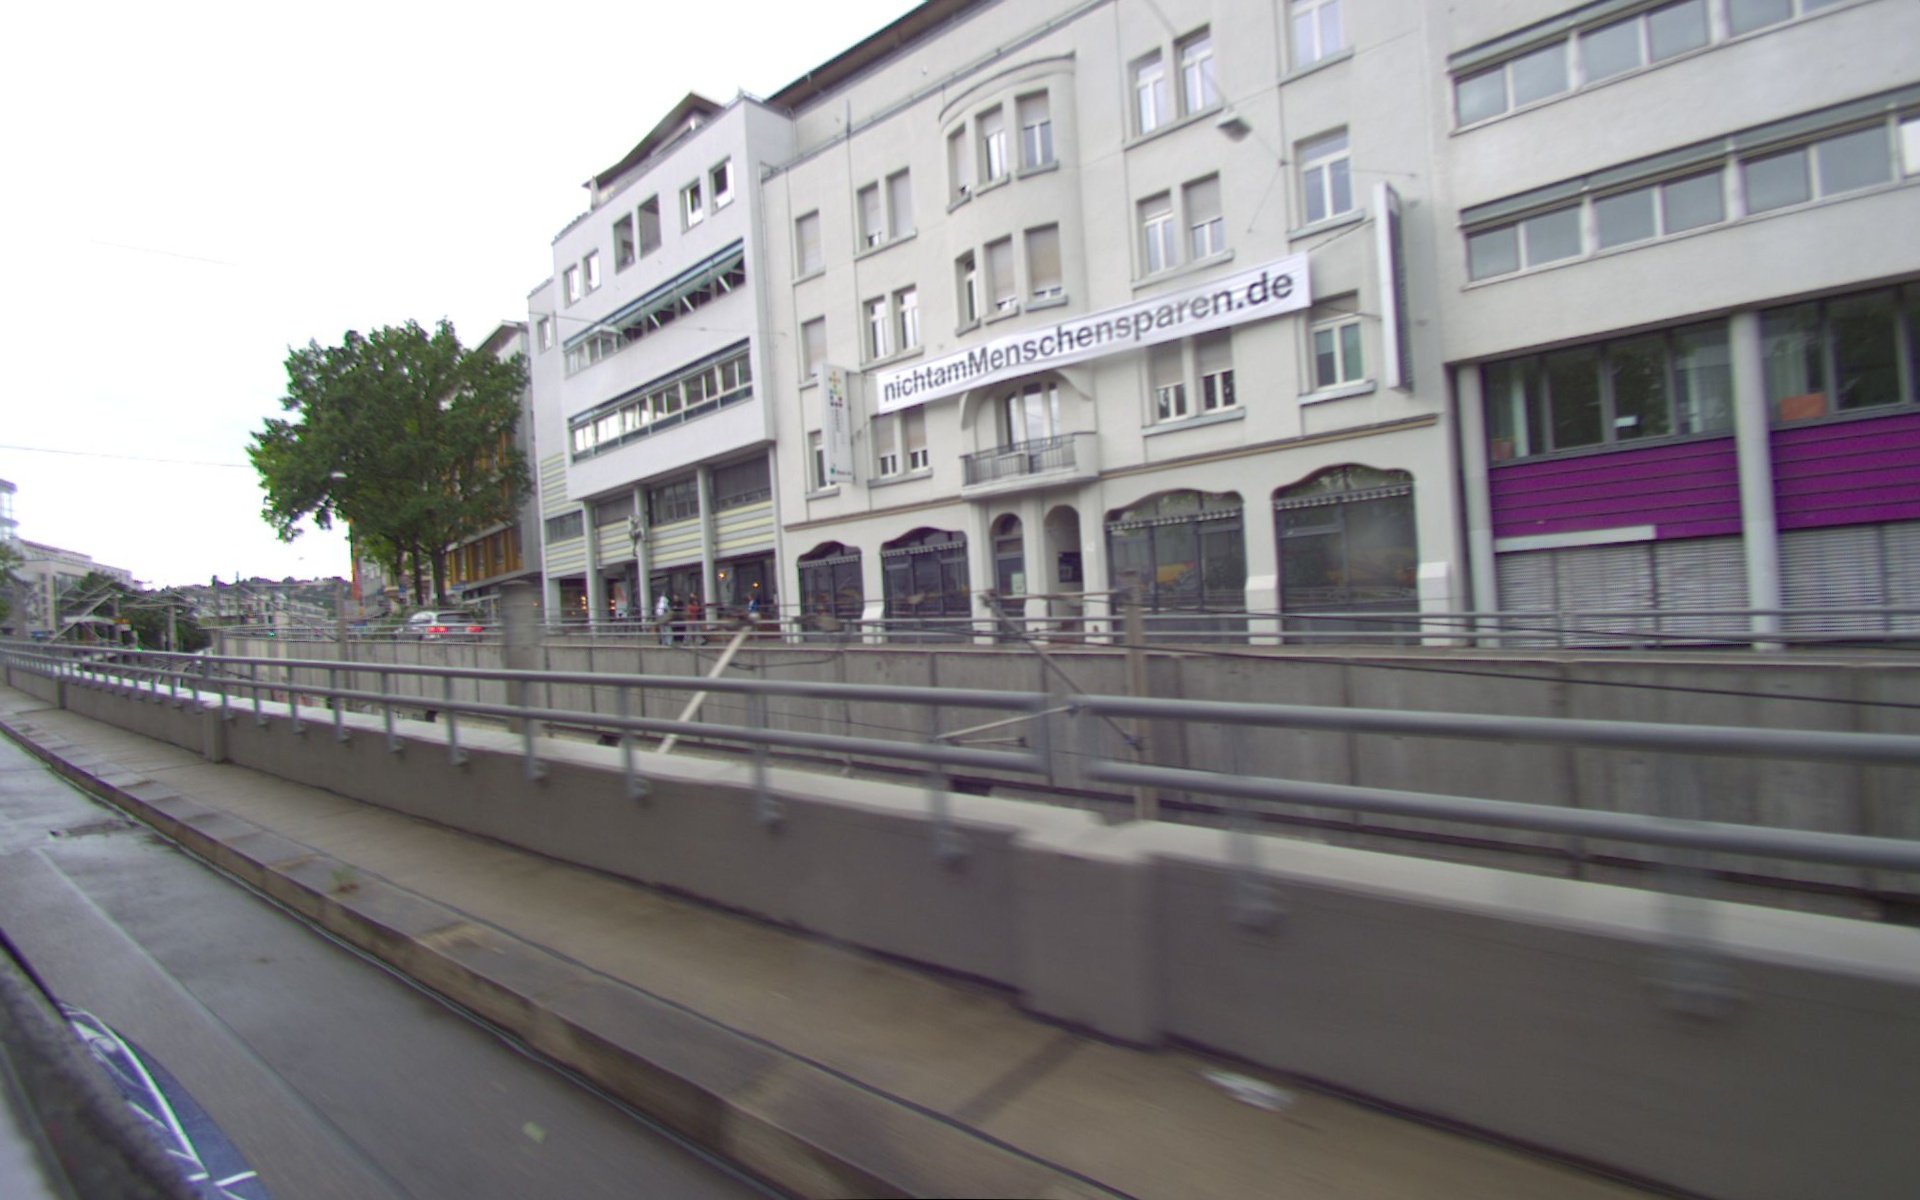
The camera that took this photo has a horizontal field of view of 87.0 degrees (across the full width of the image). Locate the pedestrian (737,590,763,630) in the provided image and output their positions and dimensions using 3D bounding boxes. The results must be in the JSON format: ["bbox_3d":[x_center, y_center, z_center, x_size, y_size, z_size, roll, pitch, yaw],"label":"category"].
[{"bbox_3d":[-7.720,0.358,37.168,0.600,1.429,0.674,-3,0,-45],"label":"pedestrian"}]

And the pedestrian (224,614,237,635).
[{"bbox_3d":[-59.474,1.965,82.519,0.668,1.661,0.898,3,-4,-28],"label":"pedestrian"}]

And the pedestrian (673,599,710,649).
[{"bbox_3d":[-9.026,0.800,34.028,0.937,1.628,0.668,-3,0,26],"label":"pedestrian"}]

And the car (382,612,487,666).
[{"bbox_3d":[-18.608,1.391,35.752,4.576,1.726,1.817,-3,-1,43],"label":"car"}]

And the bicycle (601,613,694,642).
[{"bbox_3d":[-12.656,1.119,40.813,1.673,1.051,4.524,-2,0,-45],"label":"bicycle"}]

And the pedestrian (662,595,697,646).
[{"bbox_3d":[-10.158,0.747,36.604,0.937,1.798,0.668,-3,0,26],"label":"pedestrian"}]

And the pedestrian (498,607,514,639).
[{"bbox_3d":[-26.779,1.355,59.697,0.657,1.863,0.831,0,-2,-40],"label":"pedestrian"}]

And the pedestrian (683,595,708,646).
[{"bbox_3d":[-9.340,0.721,35.731,0.601,1.735,0.673,-3,0,1],"label":"pedestrian"}]

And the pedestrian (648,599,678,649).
[{"bbox_3d":[-10.352,0.828,35.270,0.784,1.655,0.674,-3,0,-3],"label":"pedestrian"}]
